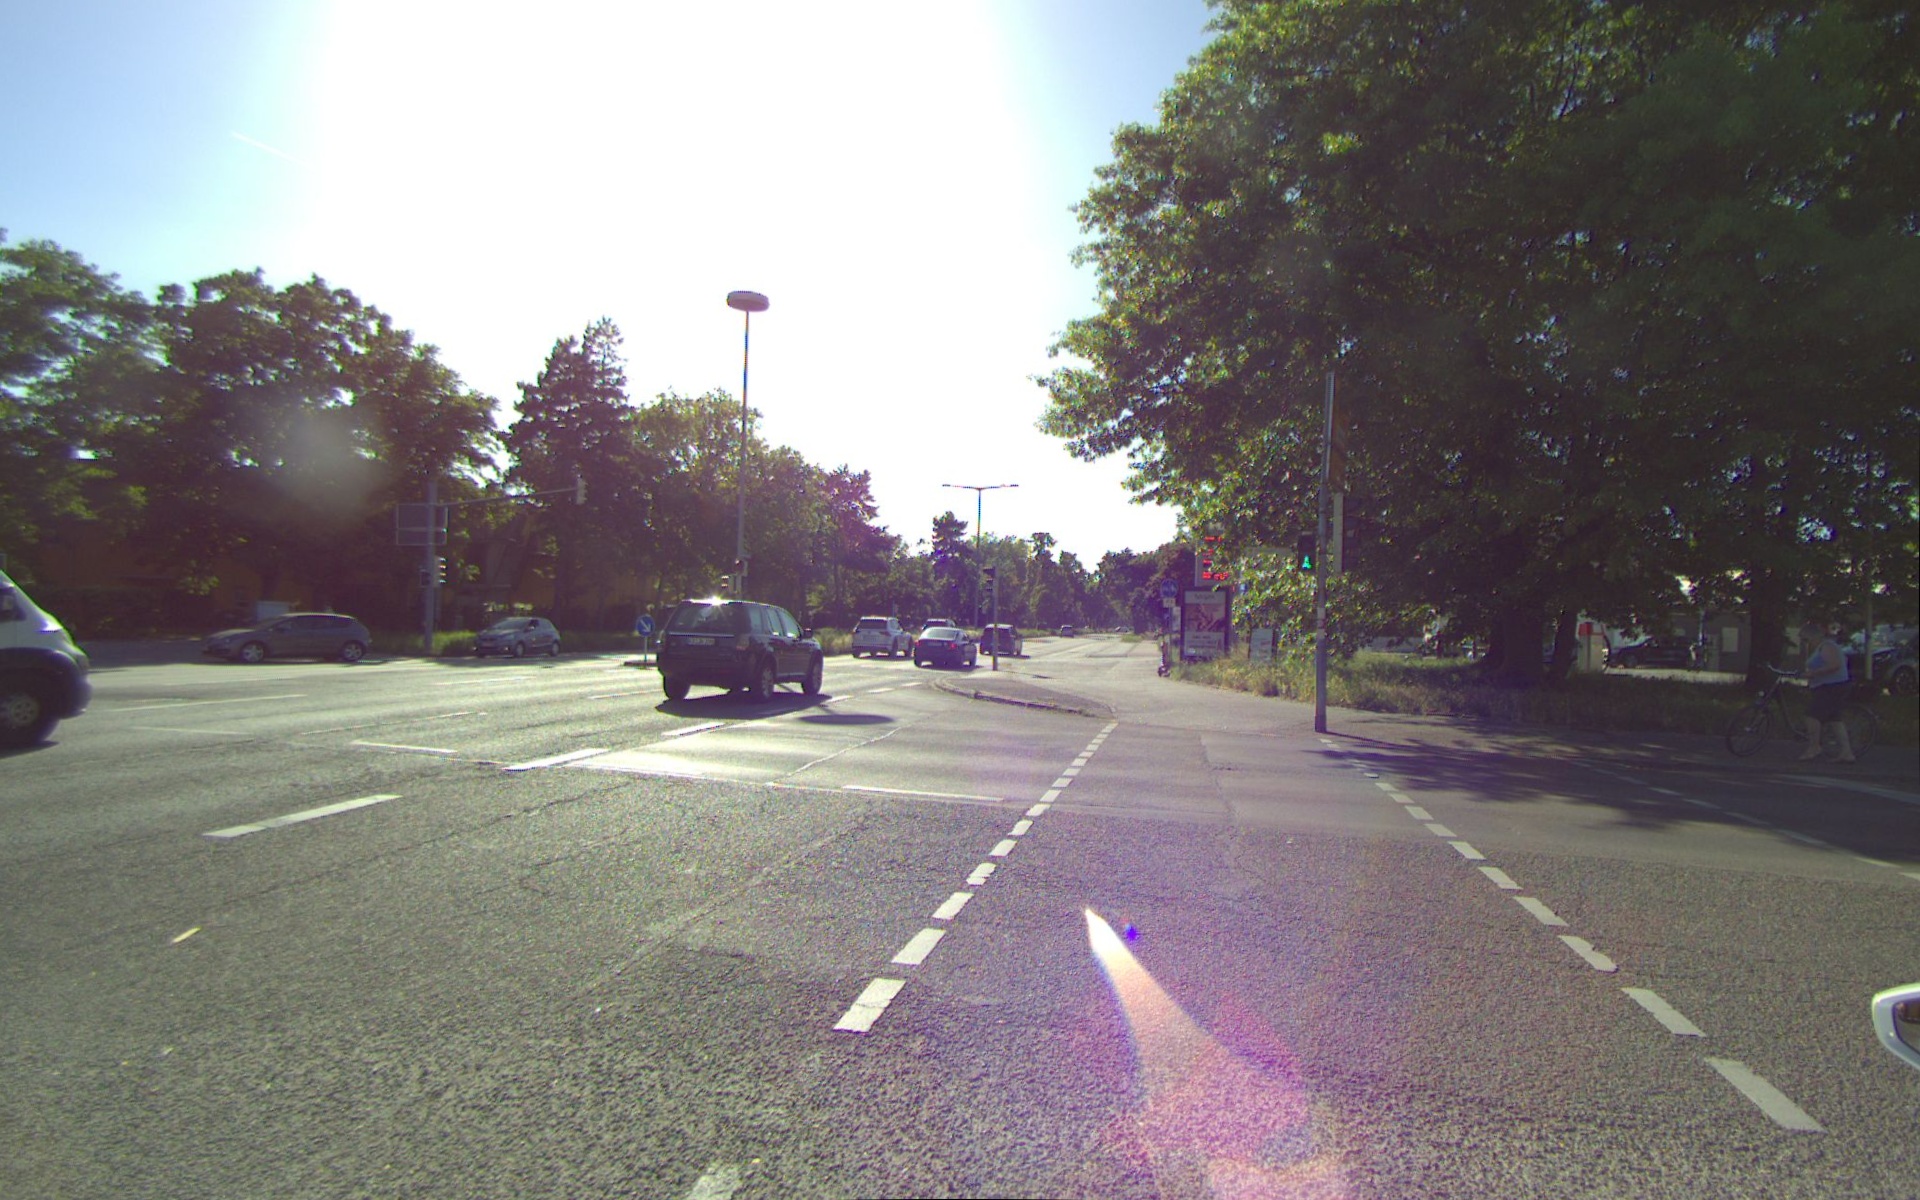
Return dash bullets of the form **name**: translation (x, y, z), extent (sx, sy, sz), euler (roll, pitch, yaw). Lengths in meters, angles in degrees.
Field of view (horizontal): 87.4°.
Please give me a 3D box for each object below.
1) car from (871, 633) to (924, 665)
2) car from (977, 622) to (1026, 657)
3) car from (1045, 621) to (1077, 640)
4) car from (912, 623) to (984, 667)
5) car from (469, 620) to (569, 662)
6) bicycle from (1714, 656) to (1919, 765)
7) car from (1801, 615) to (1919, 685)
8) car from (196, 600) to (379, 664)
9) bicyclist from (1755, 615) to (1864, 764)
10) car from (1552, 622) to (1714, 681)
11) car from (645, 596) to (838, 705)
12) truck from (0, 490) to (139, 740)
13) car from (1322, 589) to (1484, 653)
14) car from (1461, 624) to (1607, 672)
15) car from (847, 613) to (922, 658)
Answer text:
- **car**: translation (-3.536, 2.770, 57.347), extent (1.878, 1.674, 4.368), euler (3, -1, 11)
- **car**: translation (2.167, 2.012, 51.624), extent (1.805, 1.609, 4.368), euler (2, -2, 11)
- **car**: translation (12.274, 3.672, 122.252), extent (1.976, 2.040, 3.969), euler (4, -1, -29)
- **car**: translation (-0.371, 1.633, 37.284), extent (1.805, 1.413, 4.368), euler (3, -1, 10)
- **car**: translation (-16.138, 1.500, 36.965), extent (1.521, 1.451, 3.600), euler (1, -2, 12)
- **bicycle**: translation (10.117, 1.270, 11.760), extent (1.985, 1.156, 0.529), euler (1, -1, 18)
- **car**: translation (20.823, 1.154, 21.894), extent (3.931, 1.394, 1.756), euler (4, -1, -12)
- **car**: translation (-19.784, 0.968, 29.707), extent (1.779, 1.674, 4.092), euler (3, -2, 36)
- **bicyclist**: translation (9.893, 1.022, 11.718), extent (0.813, 1.663, 0.543), euler (1, -1, 17)
- **car**: translation (20.781, 1.566, 31.103), extent (3.921, 1.531, 1.532), euler (4, -1, 1)
- **car**: translation (-3.855, 0.889, 18.603), extent (1.791, 1.706, 4.395), euler (2, -2, 12)
- **truck**: translation (-10.413, 0.054, 7.502), extent (2.147, 2.340, 6.780), euler (1, -2, 11)
- **car**: translation (17.513, 0.841, 39.989), extent (5.539, 2.126, 2.002), euler (3, -1, 12)
- **car**: translation (19.556, 1.615, 34.334), extent (3.921, 1.352, 1.799), euler (4, -1, 0)
- **car**: translation (-3.131, 1.499, 42.565), extent (1.910, 1.674, 4.368), euler (3, -1, 13)
